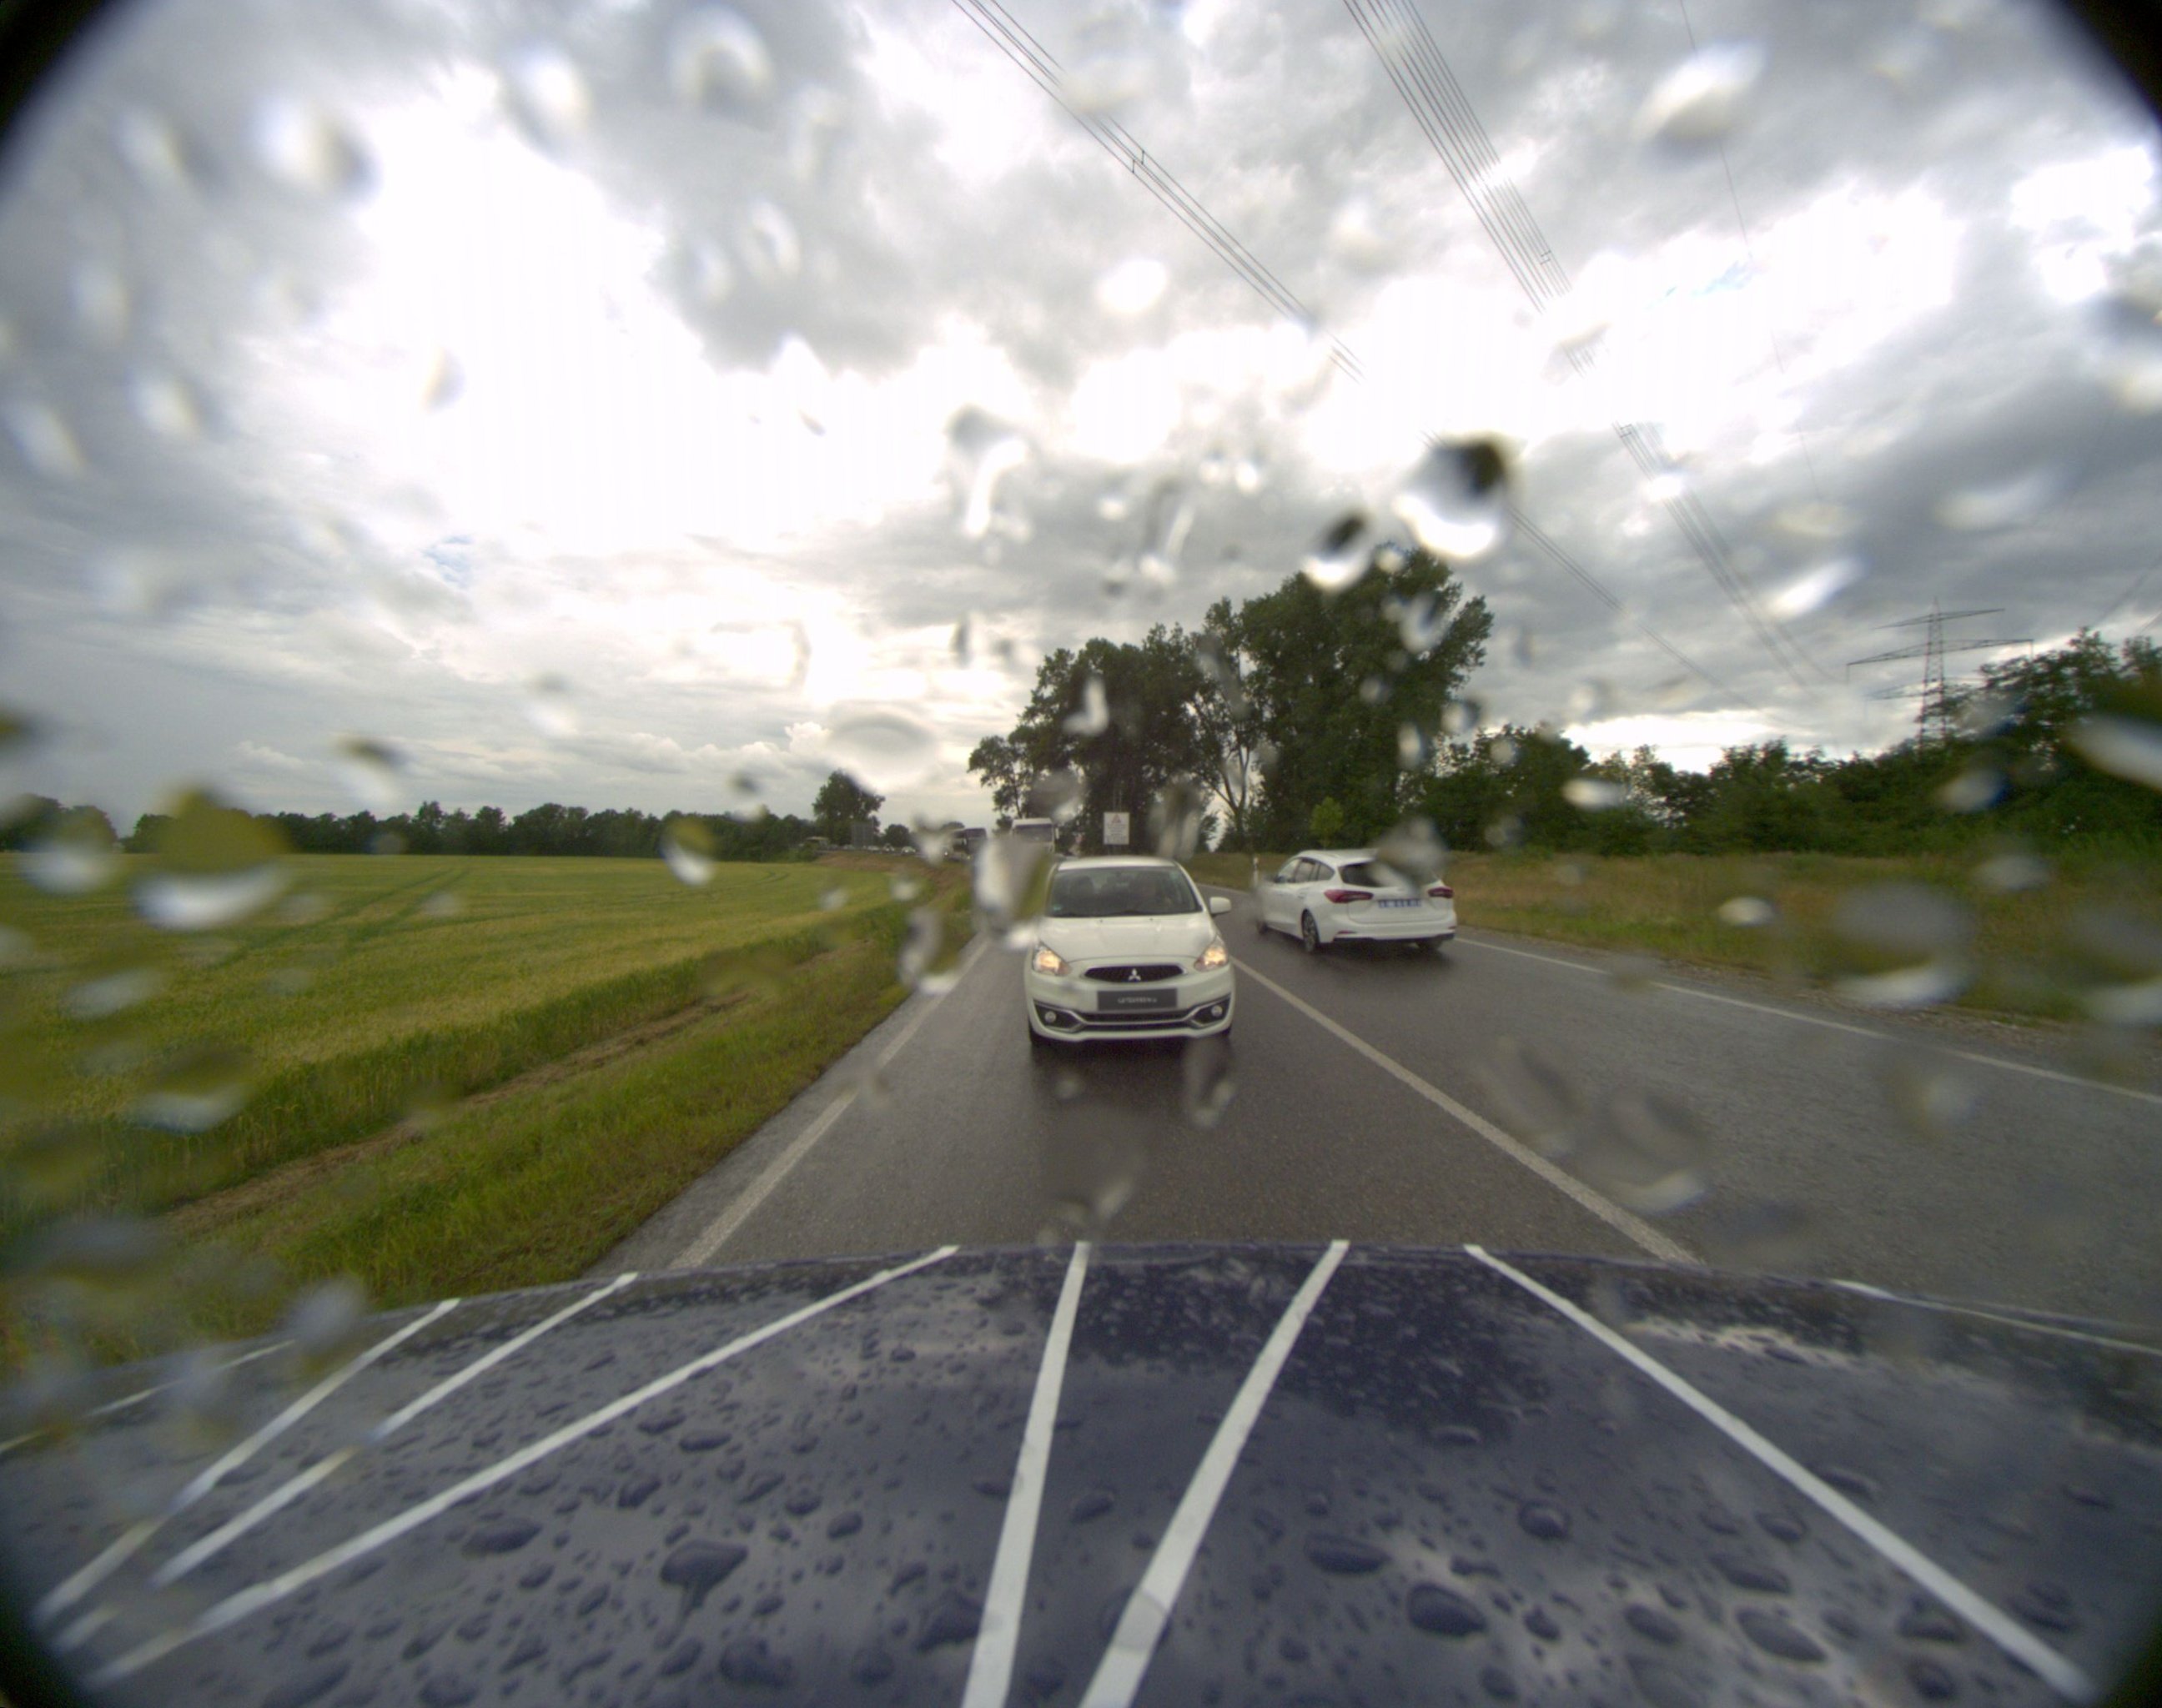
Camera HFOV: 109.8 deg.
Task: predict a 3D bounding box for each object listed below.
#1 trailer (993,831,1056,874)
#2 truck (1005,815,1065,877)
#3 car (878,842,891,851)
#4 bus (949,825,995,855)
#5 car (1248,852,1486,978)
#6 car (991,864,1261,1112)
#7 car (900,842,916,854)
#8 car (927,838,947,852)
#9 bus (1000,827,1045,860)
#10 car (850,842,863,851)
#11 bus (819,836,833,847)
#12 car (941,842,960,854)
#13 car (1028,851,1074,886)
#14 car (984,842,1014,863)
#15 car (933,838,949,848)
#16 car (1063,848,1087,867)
[{"bbox_3d":[-4.502,-0.270,56.672,2.986,2.618,15.663,-3,2,-10],"label":"trailer"},{"bbox_3d":[-3.035,-0.554,48.225,2.986,3.590,6.073,-3,2,-10],"label":"truck"},{"bbox_3d":[-48.207,-1.906,186.279,1.891,2.002,4.286,-4,2,-31],"label":"car"},{"bbox_3d":[-13.499,-1.805,92.417,2.968,3.294,14.810,-3,3,-18],"label":"bus"},{"bbox_3d":[3.926,0.728,11.310,1.849,1.380,4.286,-2,1,-1],"label":"car"},{"bbox_3d":[0.293,0.879,6.832,1.653,1.461,4.030,-2,0,0],"label":"car"},{"bbox_3d":[-31.370,-1.061,137.602,2.002,2.002,4.223,-3,2,-24],"label":"car"},{"bbox_3d":[-22.023,-1.411,116.383,2.002,2.002,5.325,-3,2,-21],"label":"car"},{"bbox_3d":[-6.668,-1.134,84.537,2.768,3.279,12.485,-2,1,-14],"label":"bus"},{"bbox_3d":[-54.782,-1.853,185.432,2.003,2.002,4.221,-4,2,-30],"label":"car"},{"bbox_3d":[-70.201,-3.311,209.048,2.003,2.899,6.992,-4,2,-31],"label":"bus"},{"bbox_3d":[-18.270,-0.831,106.173,1.816,1.569,3.992,-3,2,-20],"label":"car"},{"bbox_3d":[-1.497,0.648,36.653,1.782,1.380,4.324,-3,2,-8],"label":"car"},{"bbox_3d":[-7.890,-0.161,72.977,2.044,1.832,5.328,-3,2,-14],"label":"car"},{"bbox_3d":[-30.070,-2.378,163.515,2.003,2.002,4.109,-4,2,-31],"label":"car"},{"bbox_3d":[-0.516,0.252,60.553,1.723,1.244,3.998,-3,2,-1],"label":"car"}]
